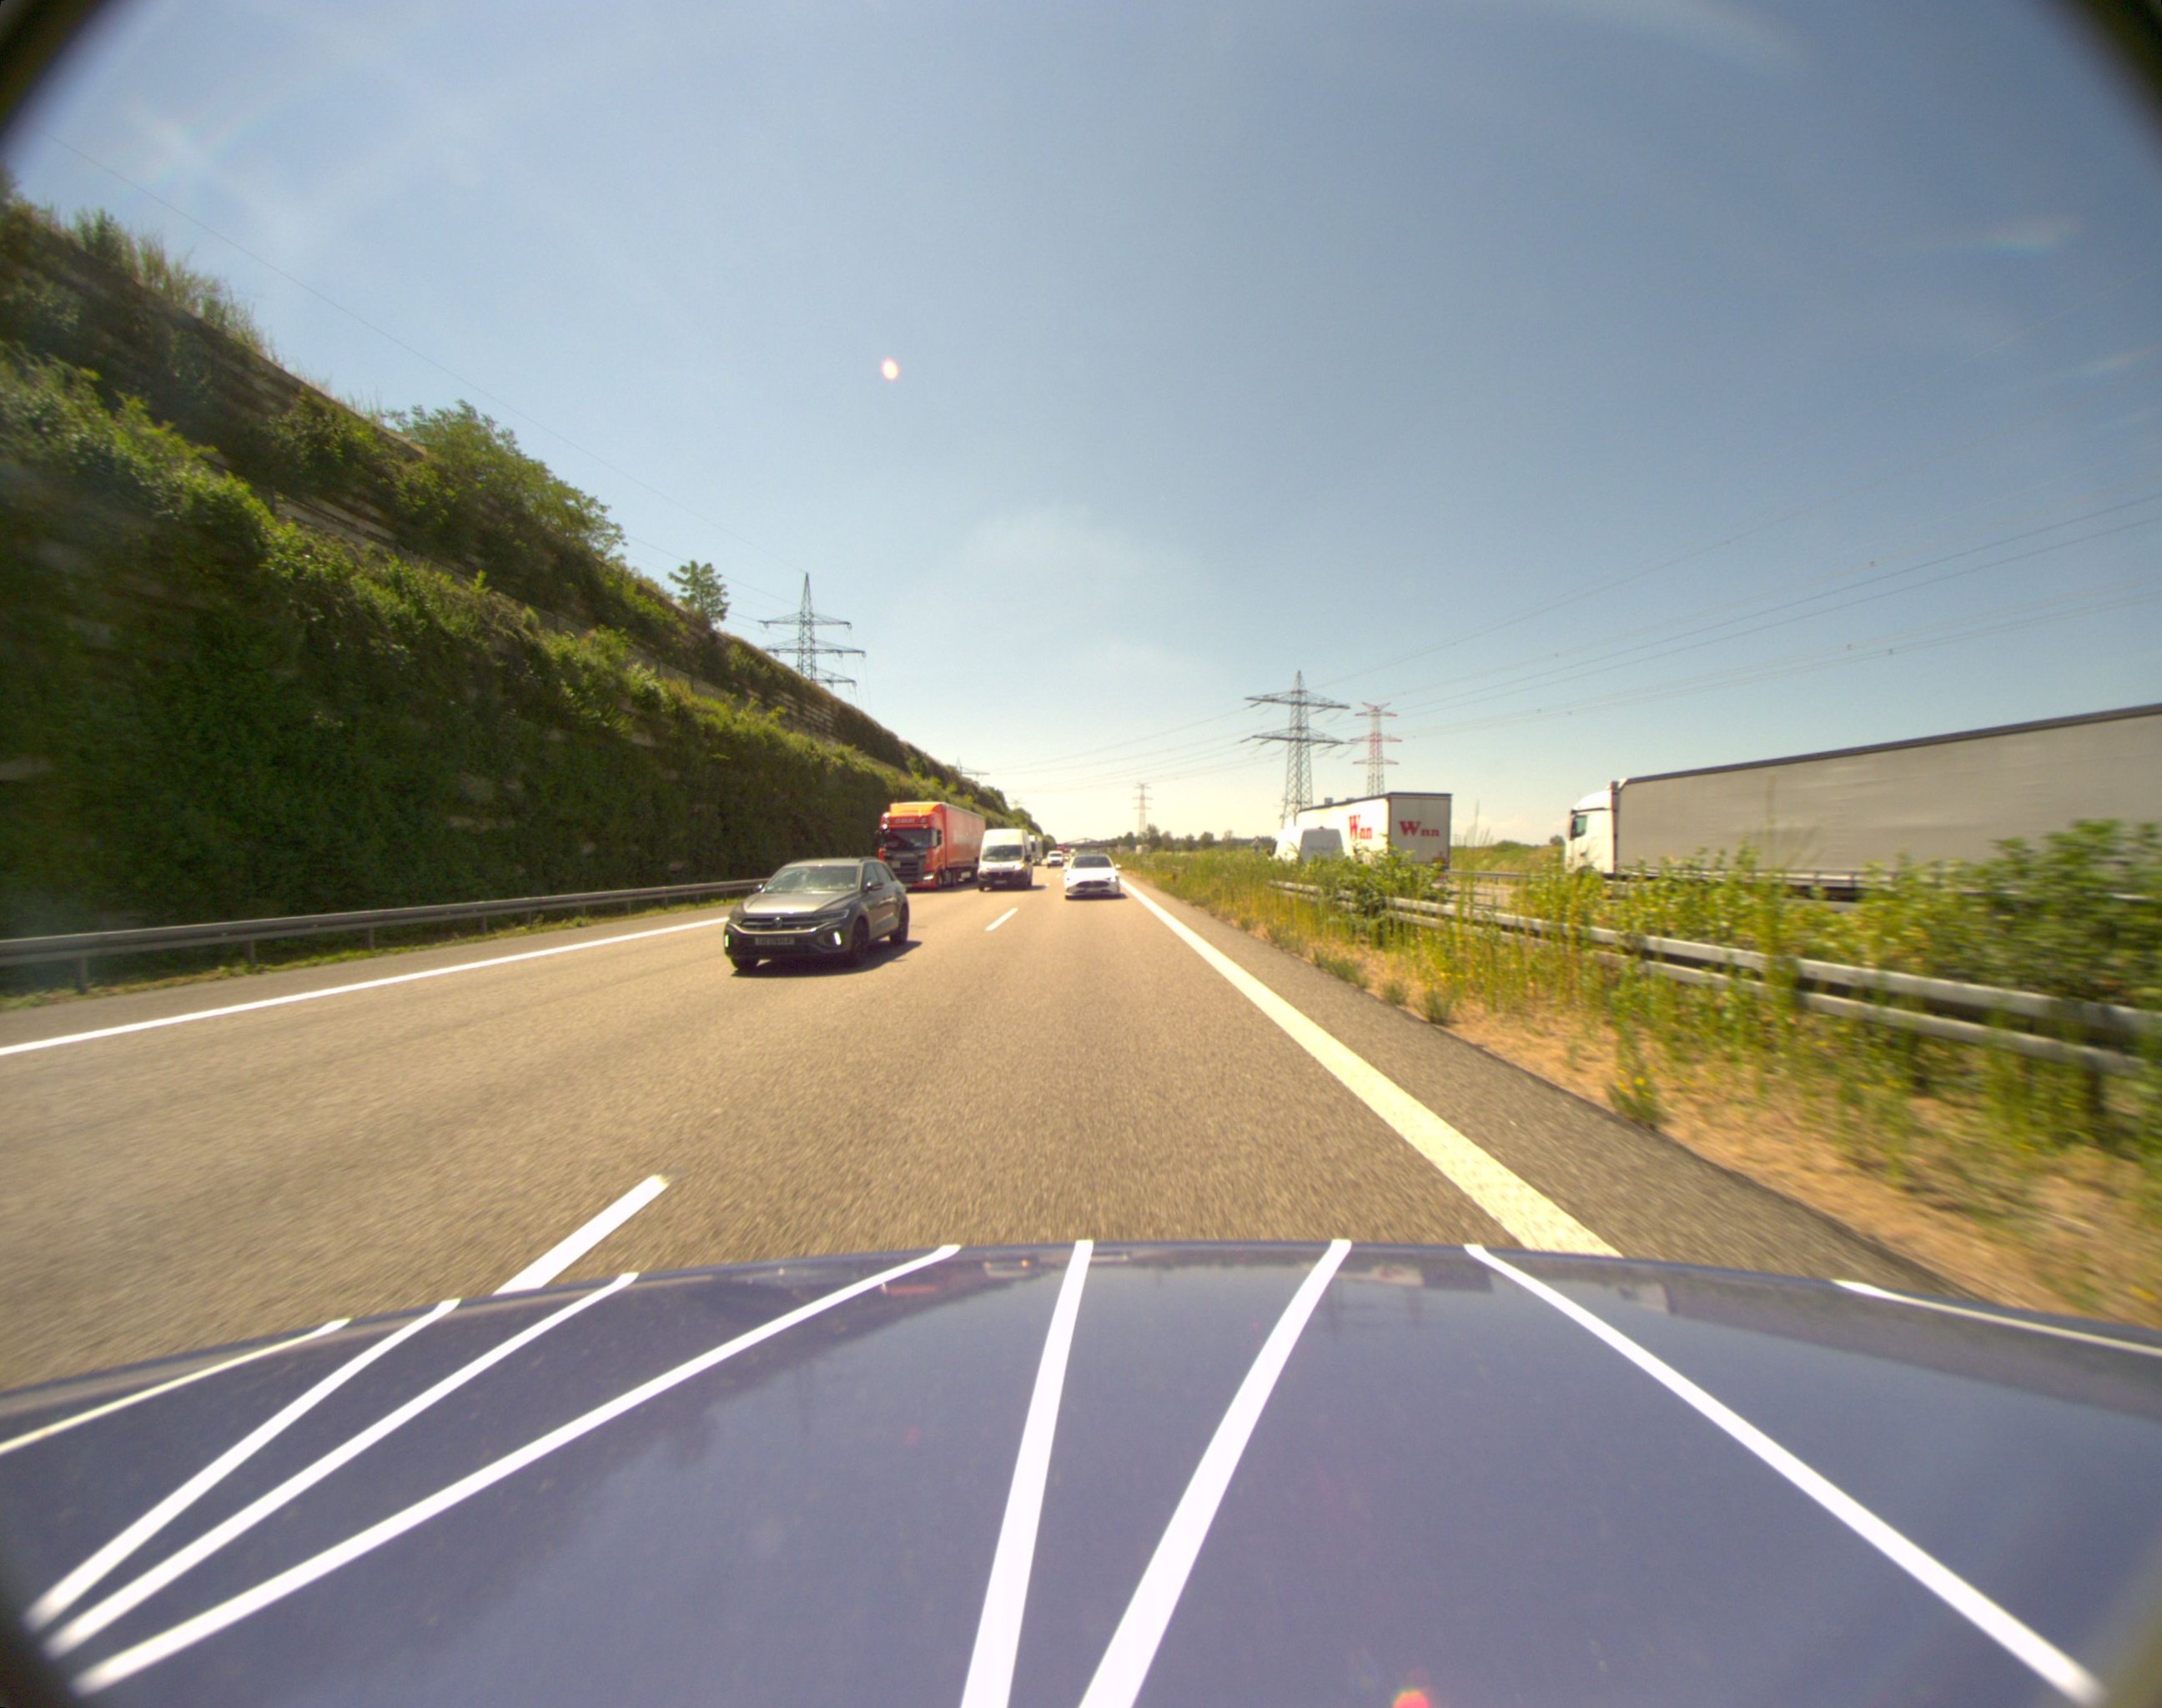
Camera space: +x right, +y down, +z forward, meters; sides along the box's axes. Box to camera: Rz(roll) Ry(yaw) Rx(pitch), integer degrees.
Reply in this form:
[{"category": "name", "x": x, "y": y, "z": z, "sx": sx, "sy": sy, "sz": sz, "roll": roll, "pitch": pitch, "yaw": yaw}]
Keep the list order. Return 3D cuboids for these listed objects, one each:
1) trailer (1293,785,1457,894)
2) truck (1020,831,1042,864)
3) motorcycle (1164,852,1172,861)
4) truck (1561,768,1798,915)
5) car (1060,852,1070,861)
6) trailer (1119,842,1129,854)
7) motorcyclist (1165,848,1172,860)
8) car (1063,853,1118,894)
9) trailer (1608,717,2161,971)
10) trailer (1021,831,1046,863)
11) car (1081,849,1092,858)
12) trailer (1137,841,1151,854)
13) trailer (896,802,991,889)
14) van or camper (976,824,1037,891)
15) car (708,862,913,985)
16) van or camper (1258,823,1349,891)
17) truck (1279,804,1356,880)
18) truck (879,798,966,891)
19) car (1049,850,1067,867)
[{"category": "trailer", "x": 13.836, "y": -0.623, "z": 37.750, "sx": 2.776, "sy": 4.324, "sz": 14.239, "roll": -1, "pitch": 0, "yaw": 1}, {"category": "truck", "x": -6.569, "y": -0.854, "z": 100.806, "sx": 2.514, "sy": 4.196, "sz": 6.255, "roll": -1, "pitch": 1, "yaw": 0}, {"category": "motorcycle", "x": 10.018, "y": 0.257, "z": 87.410, "sx": 0.701, "sy": 0.966, "sz": 1.845, "roll": 0, "pitch": 1, "yaw": 1}, {"category": "truck", "x": 17.720, "y": -0.352, "z": 23.046, "sx": 2.783, "sy": 3.831, "sz": 5.569, "roll": -1, "pitch": 1, "yaw": 0}, {"category": "car", "x": -2.835, "y": 0.436, "z": 133.948, "sx": 1.784, "sy": 1.475, "sz": 3.999, "roll": -1, "pitch": 0, "yaw": -1}, {"category": "trailer", "x": 15.089, "y": -2.077, "z": 266.125, "sx": 2.597, "sy": 4.213, "sz": 14.327, "roll": 0, "pitch": 0, "yaw": 0}, {"category": "motorcyclist", "x": 10.040, "y": 0.004, "z": 87.312, "sx": 0.709, "sy": 1.339, "sz": 1.013, "roll": 0, "pitch": 1, "yaw": -1}, {"category": "car", "x": 0.337, "y": 0.714, "z": 29.944, "sx": 1.999, "sy": 1.474, "sz": 4.107, "roll": -1, "pitch": 0, "yaw": 0}, {"category": "trailer", "x": 17.634, "y": -0.213, "z": 16.368, "sx": 2.776, "sy": 3.807, "sz": 14.238, "roll": -1, "pitch": 0, "yaw": 0}, {"category": "trailer", "x": -6.616, "y": -0.922, "z": 108.964, "sx": 2.521, "sy": 4.187, "sz": 17.025, "roll": -1, "pitch": 0, "yaw": 0}, {"category": "car", "x": 0.902, "y": -0.087, "z": 127.143, "sx": 1.784, "sy": 1.475, "sz": 3.999, "roll": 0, "pitch": 0, "yaw": -1}, {"category": "trailer", "x": 19.261, "y": -1.959, "z": 232.077, "sx": 2.861, "sy": 3.800, "sz": 15.977, "roll": 0, "pitch": 0, "yaw": 0}, {"category": "trailer", "x": -7.242, "y": -0.432, "z": 42.426, "sx": 2.652, "sy": 3.981, "sz": 13.604, "roll": -1, "pitch": 0, "yaw": 0}, {"category": "van or camper", "x": -3.285, "y": 0.137, "z": 35.065, "sx": 2.102, "sy": 2.753, "sz": 6.756, "roll": -1, "pitch": 0, "yaw": 0}, {"category": "car", "x": -3.975, "y": 0.932, "z": 11.926, "sx": 1.753, "sy": 1.516, "sz": 3.995, "roll": -1, "pitch": 1, "yaw": 0}, {"category": "van or camper", "x": 9.647, "y": 0.092, "z": 33.570, "sx": 1.999, "sy": 2.567, "sz": 6.284, "roll": 4, "pitch": 1, "yaw": 0}, {"category": "truck", "x": 13.926, "y": -0.691, "z": 45.156, "sx": 2.812, "sy": 4.134, "sz": 5.569, "roll": -1, "pitch": 1, "yaw": 0}, {"category": "truck", "x": -7.300, "y": -0.431, "z": 35.848, "sx": 2.624, "sy": 3.969, "sz": 6.526, "roll": -1, "pitch": 0, "yaw": 0}, {"category": "car", "x": -2.506, "y": 0.521, "z": 83.821, "sx": 1.784, "sy": 1.783, "sz": 3.999, "roll": -1, "pitch": 0, "yaw": 0}]
